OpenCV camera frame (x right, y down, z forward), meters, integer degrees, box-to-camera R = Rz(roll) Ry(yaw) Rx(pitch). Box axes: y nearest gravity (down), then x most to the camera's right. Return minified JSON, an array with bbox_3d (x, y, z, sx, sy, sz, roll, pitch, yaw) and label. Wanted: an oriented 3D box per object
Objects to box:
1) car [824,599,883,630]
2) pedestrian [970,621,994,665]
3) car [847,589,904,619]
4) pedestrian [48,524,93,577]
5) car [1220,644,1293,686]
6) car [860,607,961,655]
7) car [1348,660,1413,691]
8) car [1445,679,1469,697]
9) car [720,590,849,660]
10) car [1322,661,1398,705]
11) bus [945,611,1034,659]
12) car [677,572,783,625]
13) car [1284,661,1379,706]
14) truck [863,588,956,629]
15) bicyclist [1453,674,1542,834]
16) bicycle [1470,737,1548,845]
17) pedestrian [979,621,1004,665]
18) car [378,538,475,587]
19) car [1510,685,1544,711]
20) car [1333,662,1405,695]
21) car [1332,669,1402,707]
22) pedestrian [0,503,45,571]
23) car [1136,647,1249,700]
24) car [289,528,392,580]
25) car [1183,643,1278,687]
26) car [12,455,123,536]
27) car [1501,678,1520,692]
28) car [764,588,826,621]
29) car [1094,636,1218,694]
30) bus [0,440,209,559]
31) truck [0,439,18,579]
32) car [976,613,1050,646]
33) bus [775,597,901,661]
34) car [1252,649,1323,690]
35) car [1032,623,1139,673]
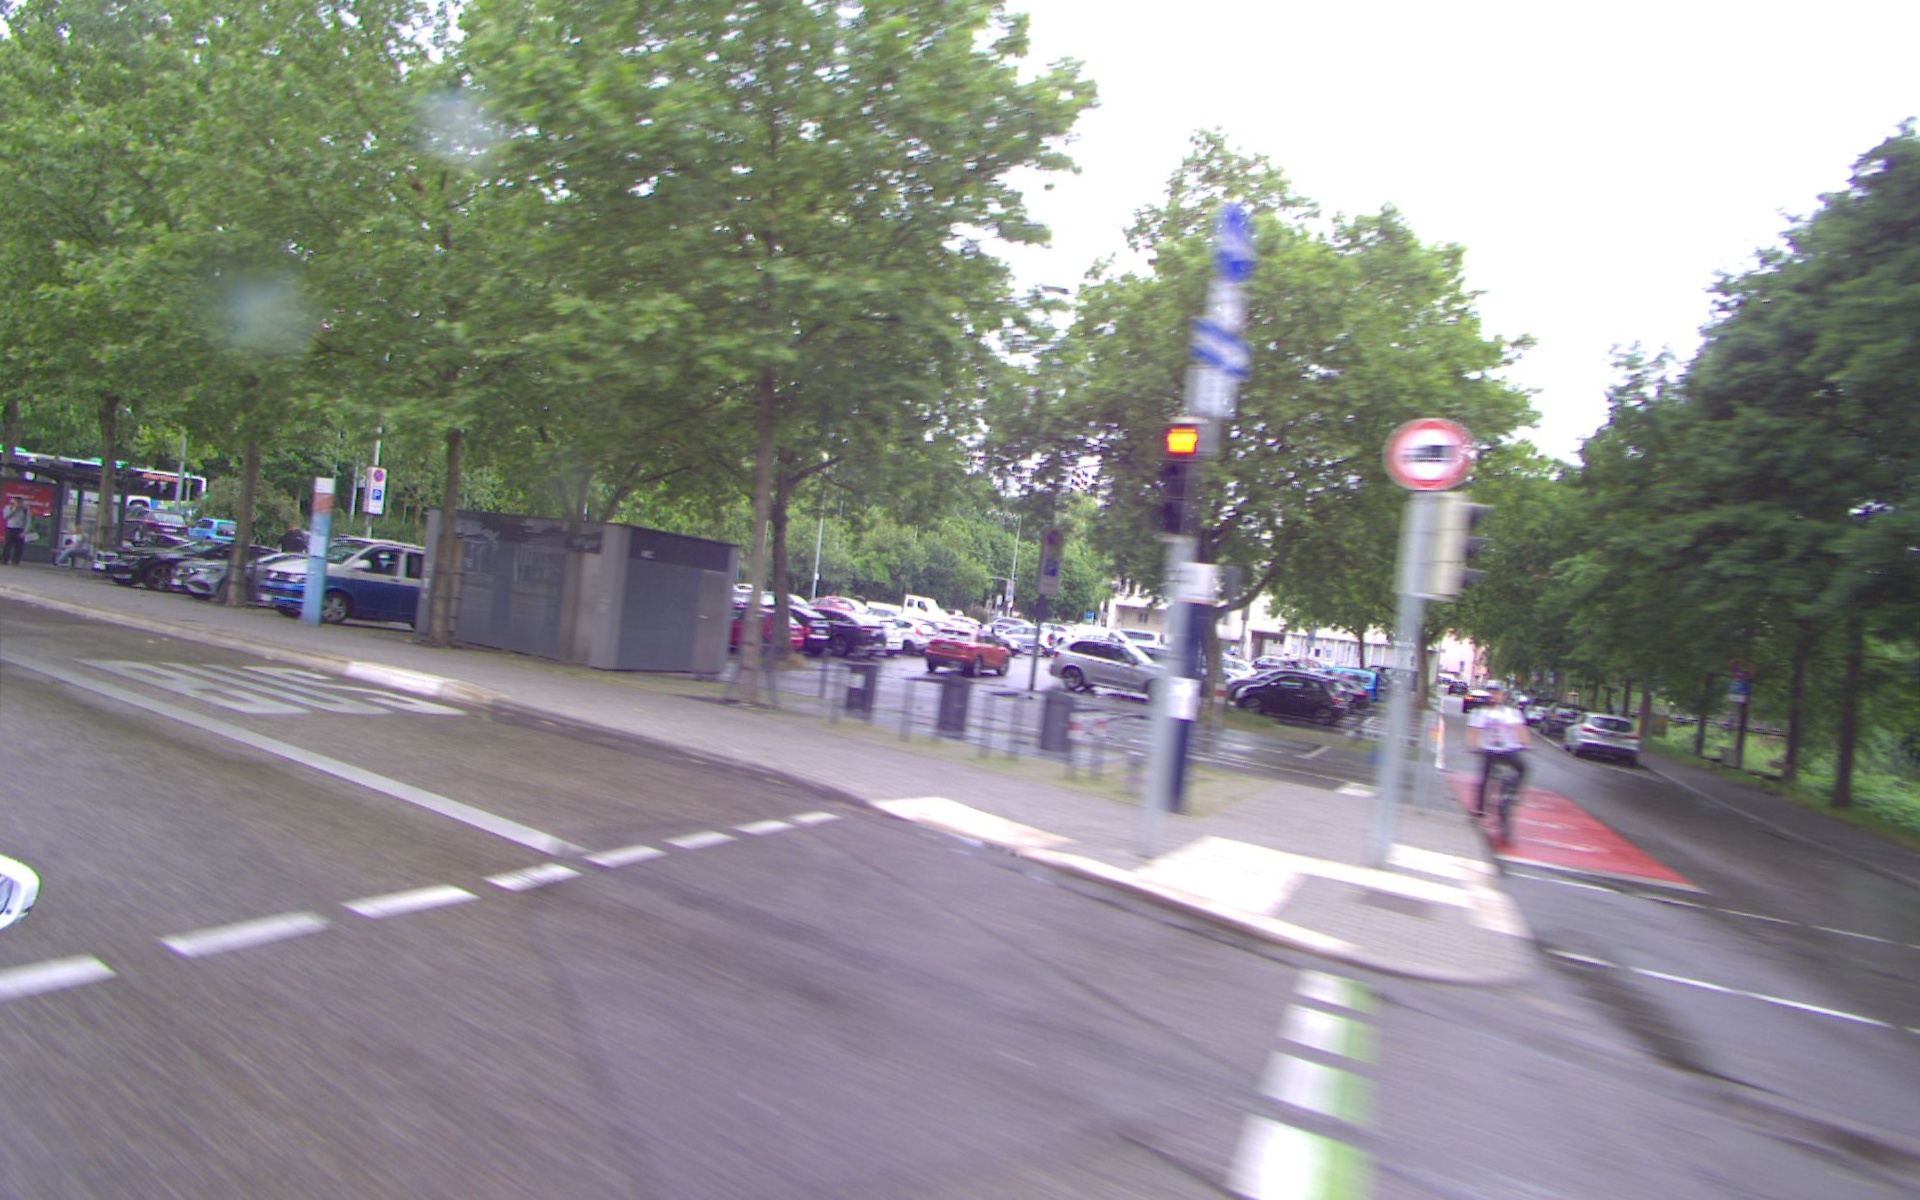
[{"bbox_3d":[-6.880,0.953,64.945,3.353,1.534,1.657,6,-1,34],"label":"car"},{"bbox_3d":[0.876,1.735,40.144,0.818,1.659,0.748,6,-3,1],"label":"pedestrian"},{"bbox_3d":[-5.688,0.257,67.422,3.353,1.534,1.657,6,-1,34],"label":"car"},{"bbox_3d":[-24.823,-1.375,28.075,0.714,1.373,0.622,6,-1,29],"label":"pedestrian"},{"bbox_3d":[18.364,3.998,62.270,3.927,2.038,2.000,7,-1,22],"label":"car"},{"bbox_3d":[-2.159,1.348,44.036,3.932,1.682,1.810,4,-4,29],"label":"car"},{"bbox_3d":[33.112,5.951,79.199,4.514,1.778,1.936,6,-2,26],"label":"car"},{"bbox_3d":[51.250,9.088,103.731,1.728,1.564,3.995,6,-2,31],"label":"car"},{"bbox_3d":[-5.980,0.841,34.180,3.935,1.924,1.832,4,-4,31],"label":"car"},{"bbox_3d":[23.794,4.921,59.885,3.927,2.004,2.000,7,-1,22],"label":"car"},{"bbox_3d":[1.516,1.802,51.811,3.930,2.035,2.001,4,-4,26],"label":"bus"},{"bbox_3d":[-9.655,-0.059,42.154,3.930,1.670,1.824,6,-2,28],"label":"car"},{"bbox_3d":[19.998,4.471,54.167,4.514,1.778,1.936,6,-2,26],"label":"car"},{"bbox_3d":[-3.829,0.641,76.314,6.405,2.265,2.449,6,-2,23],"label":"truck"},{"bbox_3d":[6.946,1.966,13.029,0.738,1.908,0.645,7,-2,21],"label":"bicyclist"},{"bbox_3d":[6.978,2.383,12.847,0.510,1.135,1.954,7,-3,22],"label":"bicycle"},{"bbox_3d":[1.298,1.764,41.148,0.818,1.659,0.748,6,-3,4],"label":"pedestrian"},{"bbox_3d":[-24.243,-1.720,45.727,3.659,1.755,1.910,4,-4,25],"label":"car"},{"bbox_3d":[41.150,7.133,73.006,1.967,1.564,3.995,6,-2,31],"label":"car"},{"bbox_3d":[30.124,5.774,74.068,4.519,1.778,1.933,6,-1,32],"label":"car"},{"bbox_3d":[25.820,5.556,63.912,3.927,1.837,2.000,7,-1,22],"label":"car"},{"bbox_3d":[-25.523,-1.696,27.302,0.612,1.720,0.726,6,-1,29],"label":"pedestrian"},{"bbox_3d":[10.439,3.305,45.207,4.514,1.778,1.936,6,-2,26],"label":"car"},{"bbox_3d":[-26.567,-1.966,43.161,3.659,1.755,1.910,4,-4,25],"label":"car"},{"bbox_3d":[14.523,3.480,54.054,4.514,1.778,1.936,6,-2,26],"label":"car"},{"bbox_3d":[-39.287,-4.596,44.271,4.154,3.005,2.078,6,-1,28],"label":"car"},{"bbox_3d":[73.997,11.445,135.110,1.967,1.564,3.995,6,-2,31],"label":"car"},{"bbox_3d":[-9.893,0.253,60.265,3.353,1.534,1.657,6,-1,34],"label":"car"},{"bbox_3d":[8.087,2.666,41.519,4.514,1.778,1.936,6,-2,26],"label":"car"},{"bbox_3d":[-53.623,-6.180,56.767,3.046,5.271,17.960,6,-2,30],"label":"bus"},{"bbox_3d":[-11.226,-0.747,9.545,4.639,2.049,2.125,6,-2,33],"label":"truck"},{"bbox_3d":[3.585,2.002,68.485,4.510,1.617,2.001,6,-2,21],"label":"car"},{"bbox_3d":[-4.383,1.051,36.122,3.932,1.744,1.998,6,-2,29],"label":"bus"},{"bbox_3d":[20.778,4.391,63.808,3.927,2.038,2.000,7,-1,22],"label":"car"},{"bbox_3d":[5.959,2.275,47.825,4.514,1.778,1.936,6,-2,26],"label":"car"}]
